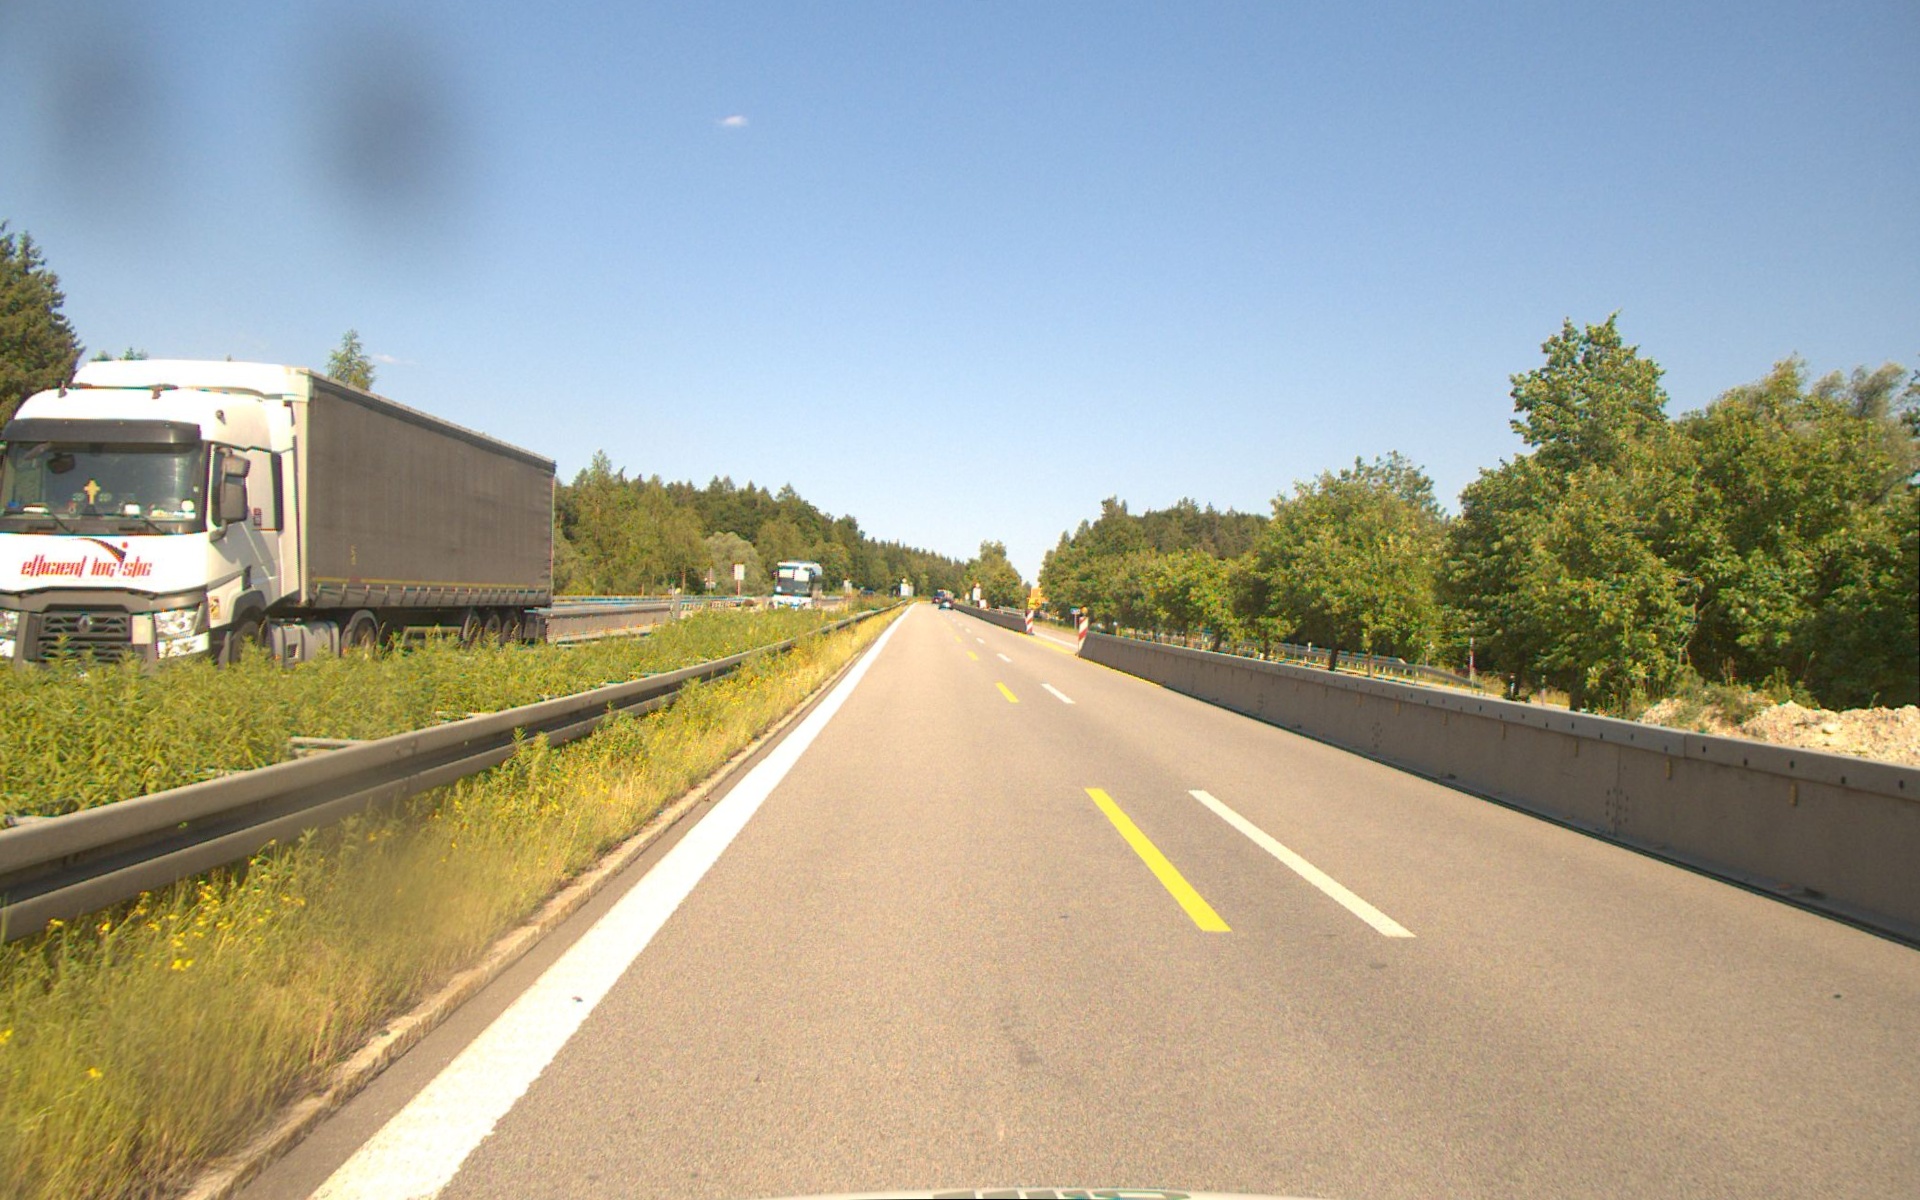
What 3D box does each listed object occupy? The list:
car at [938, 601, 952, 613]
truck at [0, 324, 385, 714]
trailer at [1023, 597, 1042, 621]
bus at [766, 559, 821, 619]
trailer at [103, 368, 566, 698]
[{"bbox_3d":[-1.898,0.861,209.532,1.708,1.492,4.292,2,0,-1],"label":"car"},{"bbox_3d":[-9.409,-0.865,20.453,2.714,4.159,5.474,0,0,-1],"label":"truck"},{"bbox_3d":[6.038,0.762,138.524,1.102,1.906,3.997,2,0,-3],"label":"trailer"},{"bbox_3d":[-11.403,-0.718,114.460,2.824,3.734,12.912,3,0,-2],"label":"bus"},{"bbox_3d":[-9.550,-0.826,27.858,2.686,4.142,13.992,0,0,-1],"label":"trailer"}]
